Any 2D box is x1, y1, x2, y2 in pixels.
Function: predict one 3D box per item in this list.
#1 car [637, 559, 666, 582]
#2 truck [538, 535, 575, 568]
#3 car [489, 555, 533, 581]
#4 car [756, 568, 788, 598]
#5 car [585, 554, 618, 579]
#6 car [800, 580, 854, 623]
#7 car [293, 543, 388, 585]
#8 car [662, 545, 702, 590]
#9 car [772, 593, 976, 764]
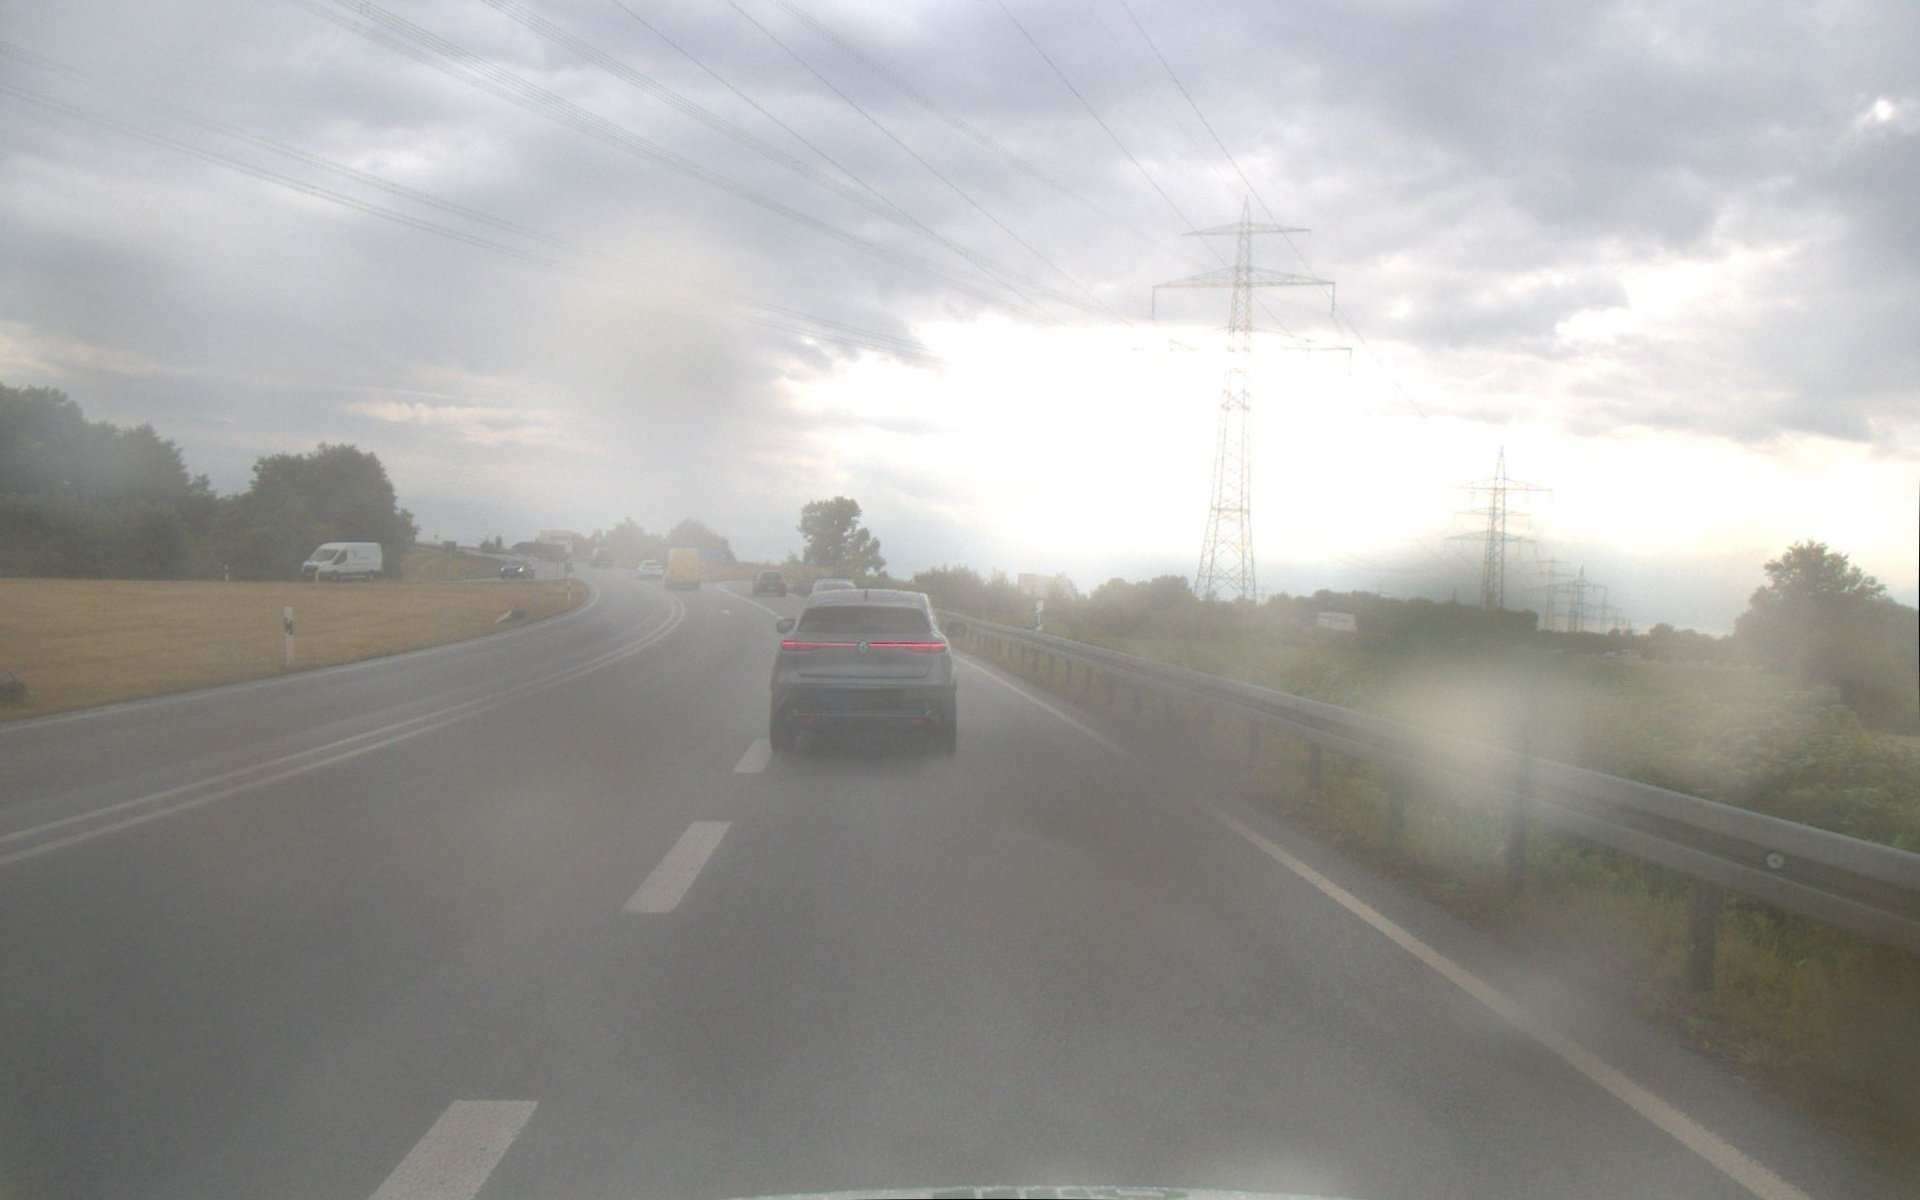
[{"bbox_3d":[-24.278,-2.307,130.070,1.762,1.717,3.982,2,-1,-16],"label":"car"},{"bbox_3d":[-46.987,-5.646,192.569,3.004,3.444,7.591,2,-1,-22],"label":"truck"},{"bbox_3d":[-33.342,-2.348,122.876,1.940,1.632,3.917,3,-1,4],"label":"car"},{"bbox_3d":[-10.977,-0.975,96.569,1.757,1.568,3.994,3,-1,-7],"label":"car"},{"bbox_3d":[-36.488,-3.358,168.386,2.563,2.290,5.503,2,-1,-20],"label":"car"},{"bbox_3d":[-4.714,0.072,58.264,1.757,1.466,3.994,0,-1,-7],"label":"car"},{"bbox_3d":[-37.370,-2.210,99.986,2.384,2.432,5.471,1,2,20],"label":"car"},{"bbox_3d":[-18.200,-2.100,108.219,2.526,2.773,7.179,0,0,-10],"label":"car"},{"bbox_3d":[-0.808,0.689,16.450,1.755,1.466,3.999,1,0,-2],"label":"car"}]
